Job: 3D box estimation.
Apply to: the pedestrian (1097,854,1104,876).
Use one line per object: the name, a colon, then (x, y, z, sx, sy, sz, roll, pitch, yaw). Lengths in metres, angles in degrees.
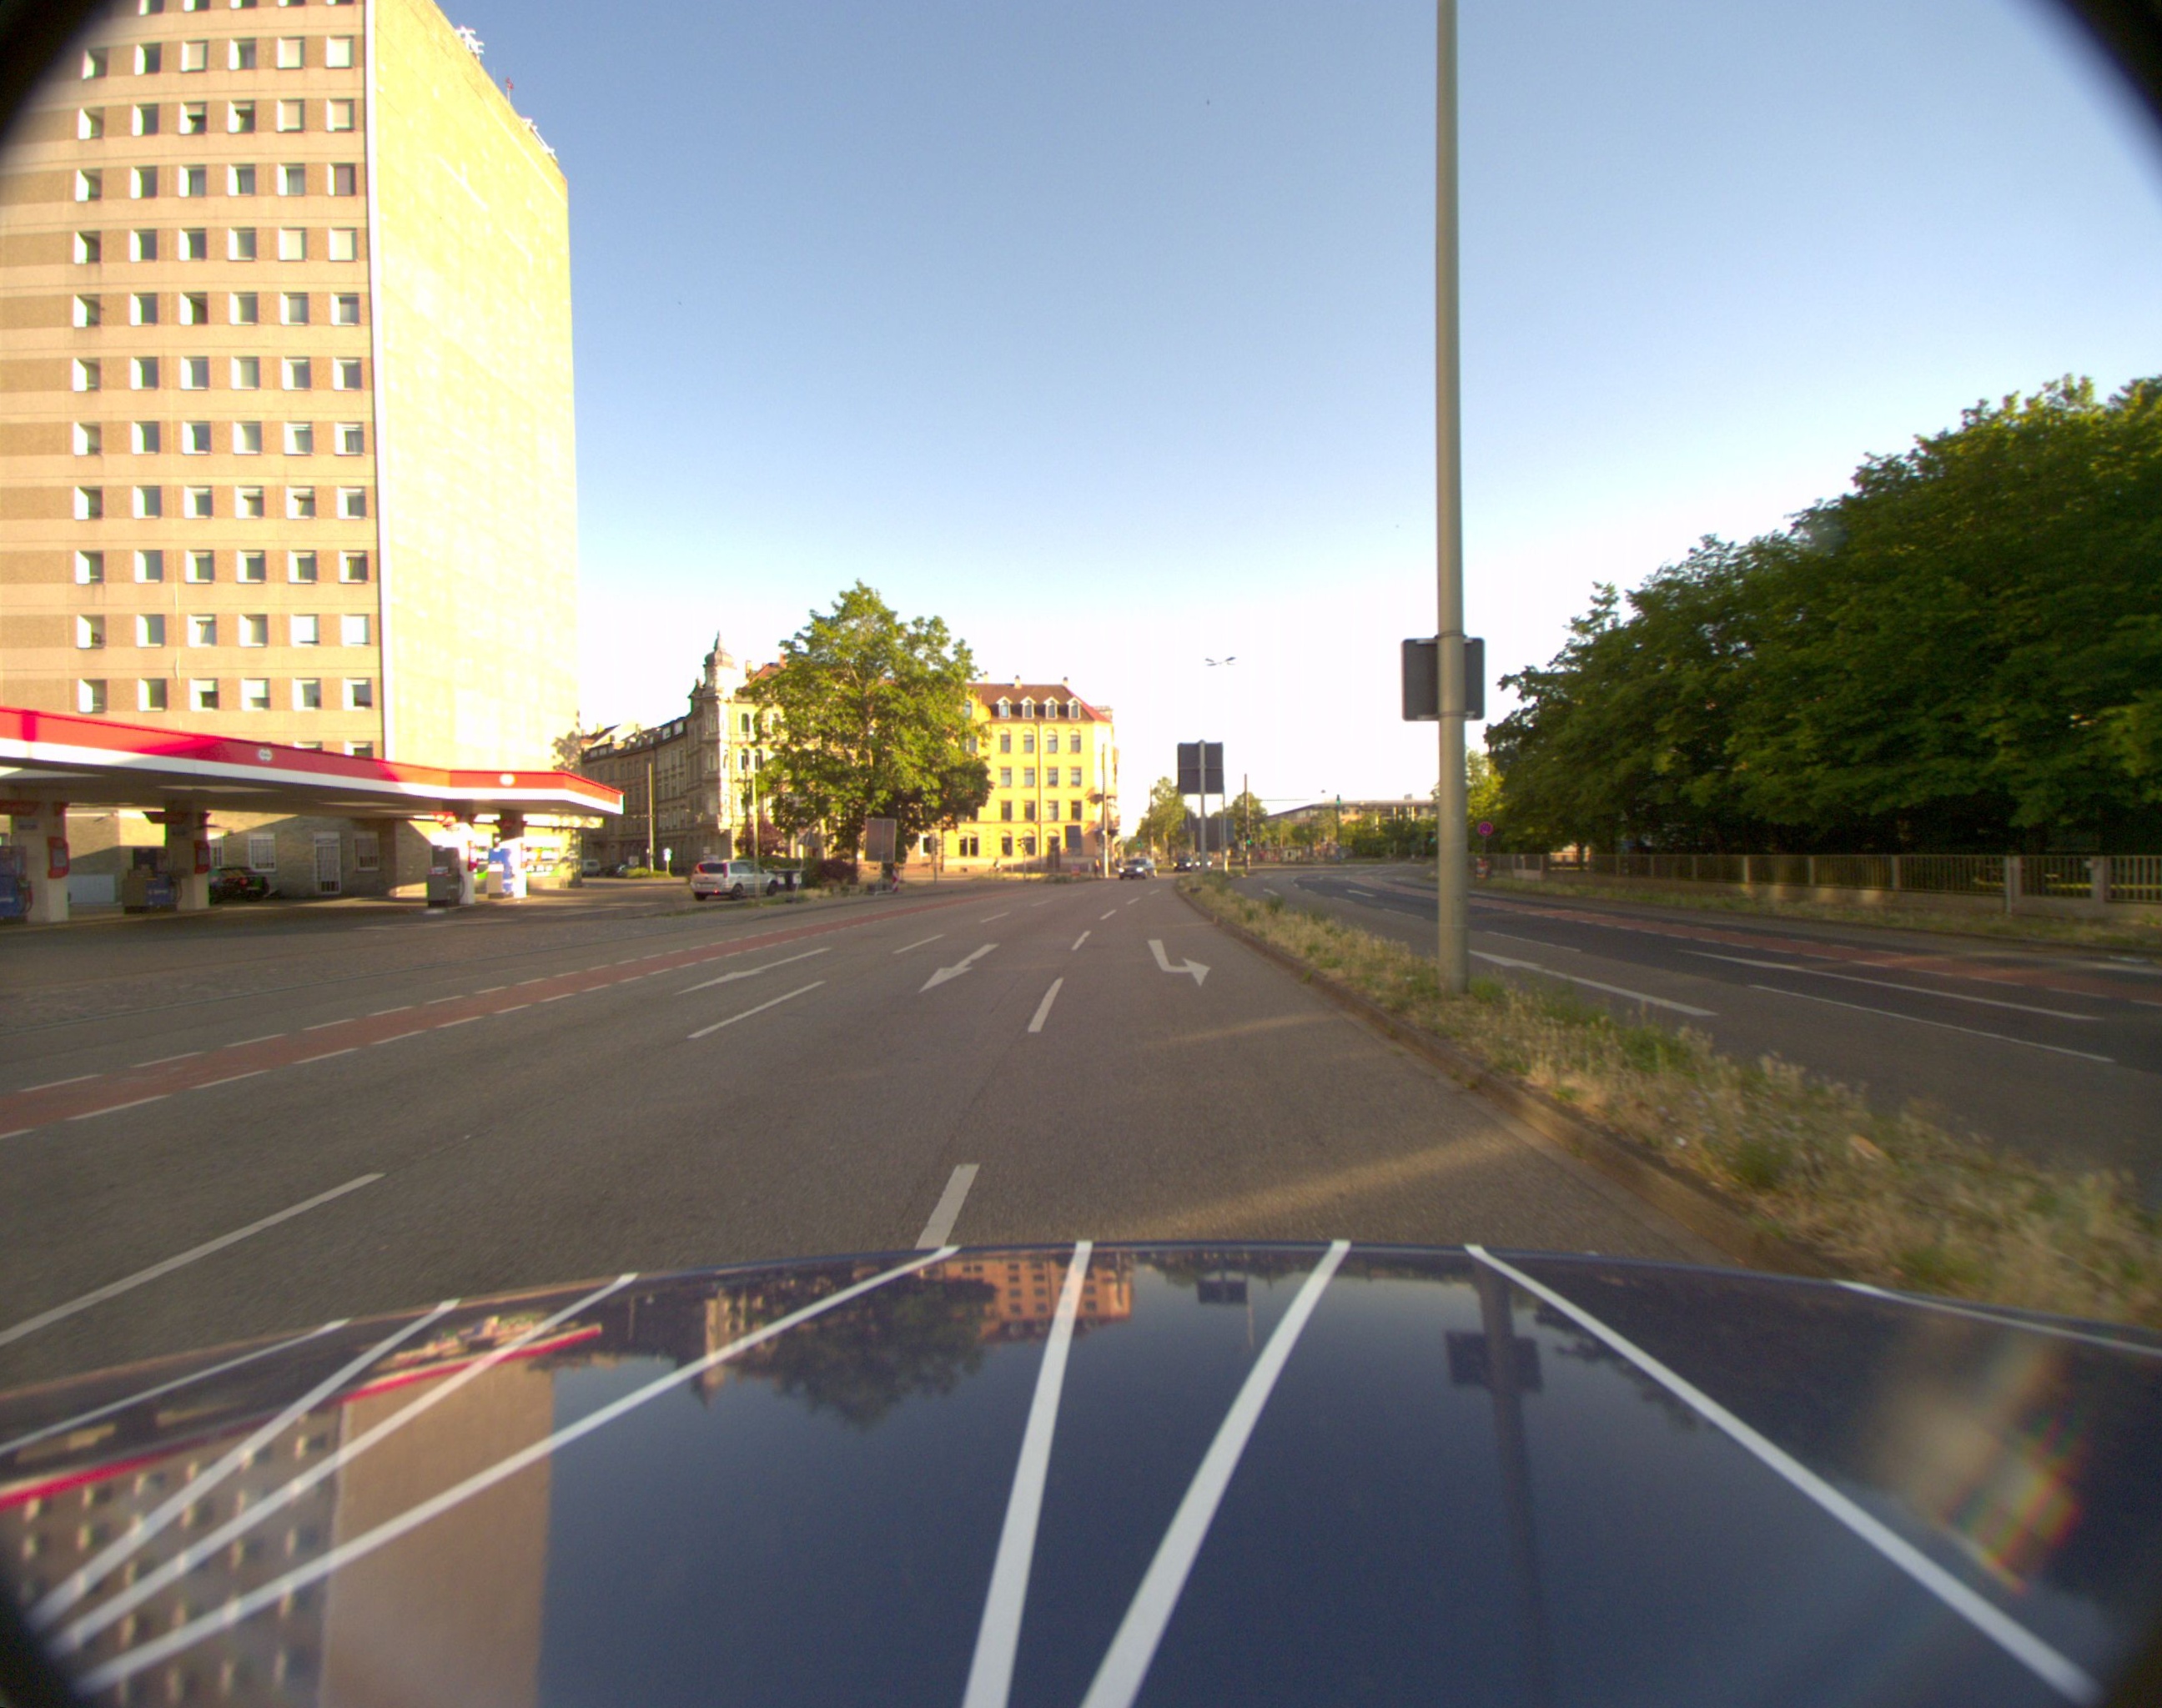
pedestrian: (1.541, 0.872, 60.762, 0.500, 1.693, 0.472, -1, 1, 7)

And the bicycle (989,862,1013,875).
bicycle: (-6.514, 1.170, 62.178, 1.927, 1.053, 0.451, -1, 1, -6)

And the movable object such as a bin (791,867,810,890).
movable object such as a bin: (-12.605, 1.105, 34.159, 0.544, 1.013, 0.688, -1, 1, 6)

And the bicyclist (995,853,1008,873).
bicyclist: (-6.506, 0.715, 62.258, 1.065, 1.639, 0.732, -1, 1, -6)

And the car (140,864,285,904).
car: (-35.221, 1.202, 30.883, 3.793, 1.508, 1.770, -1, 1, 0)

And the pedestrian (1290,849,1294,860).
pedestrian: (36.223, 0.082, 130.300, 0.556, 2.002, 0.664, -1, 1, 2)

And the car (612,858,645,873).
car: (-48.333, 1.261, 81.110, 3.988, 1.524, 2.004, -1, 0, 42)

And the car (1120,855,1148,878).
car: (3.730, 0.856, 53.369, 1.819, 1.440, 4.668, -2, 0, 4)

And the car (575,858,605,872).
car: (-59.124, 1.320, 91.447, 3.988, 1.677, 2.004, -1, 0, 41)

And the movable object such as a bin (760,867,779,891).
movable object such as a bin: (-14.107, 1.128, 34.422, 0.544, 1.013, 0.688, -1, 1, 6)

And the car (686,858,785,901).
car: (-13.484, 0.943, 29.894, 1.687, 1.508, 3.798, -1, 1, 9)

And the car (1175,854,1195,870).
car: (9.862, 0.748, 72.000, 1.583, 1.440, 3.875, -2, 0, 12)

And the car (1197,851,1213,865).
car: (14.329, 0.456, 87.696, 1.730, 1.440, 4.048, -2, 0, 10)

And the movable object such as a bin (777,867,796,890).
movable object such as a bin: (-13.324, 1.120, 34.365, 0.544, 1.013, 0.688, -1, 1, 6)
